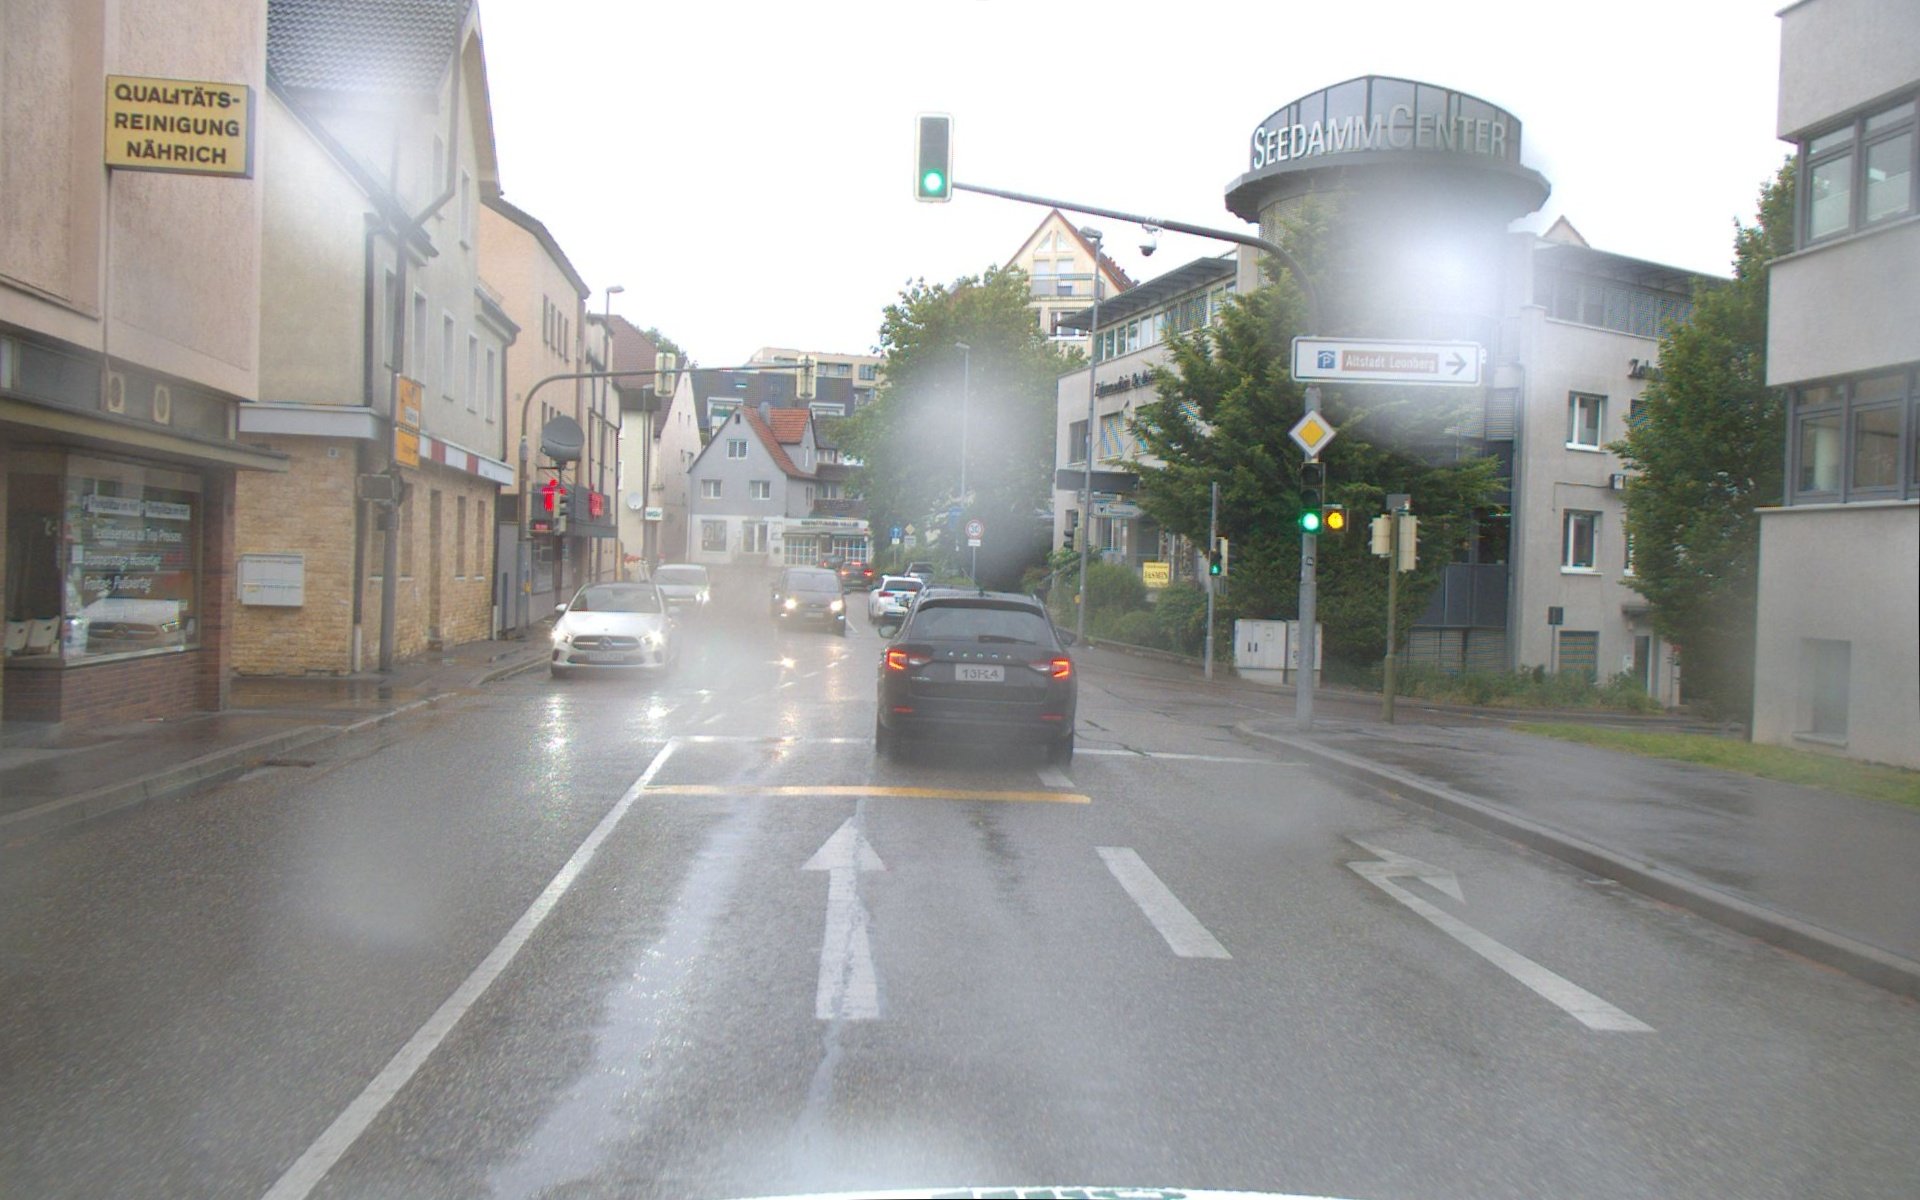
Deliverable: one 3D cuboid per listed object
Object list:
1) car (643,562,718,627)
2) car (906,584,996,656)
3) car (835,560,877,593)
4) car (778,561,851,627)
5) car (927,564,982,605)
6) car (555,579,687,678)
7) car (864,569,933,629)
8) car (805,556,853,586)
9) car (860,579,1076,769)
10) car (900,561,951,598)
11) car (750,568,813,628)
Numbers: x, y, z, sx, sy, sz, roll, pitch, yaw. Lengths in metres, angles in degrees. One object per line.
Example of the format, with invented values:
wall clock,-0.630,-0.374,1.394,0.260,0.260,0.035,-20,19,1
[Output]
car,-7.410,-0.193,44.084,1.751,1.587,4.331,1,2,-7
car,-0.223,0.389,35.549,1.781,1.383,3.989,2,1,-1
car,-5.331,-1.172,84.234,1.857,1.618,3.682,1,0,-8
car,-3.989,-0.196,44.830,1.750,1.589,4.396,3,1,-7
car,-0.270,-0.665,70.491,1.818,1.670,3.531,1,1,-9
car,-5.326,0.398,26.398,1.658,1.396,4.108,0,1,-6
car,-1.915,0.012,50.152,1.695,1.618,4.177,3,-2,-7
car,-7.837,-1.708,98.983,1.866,1.711,3.664,1,0,-22
car,-0.035,0.593,15.882,1.746,1.509,4.244,2,1,-3
car,-1.623,-0.958,76.374,1.818,1.670,3.863,1,1,-9
car,-5.440,-0.096,50.110,1.750,1.589,4.396,3,1,-7
